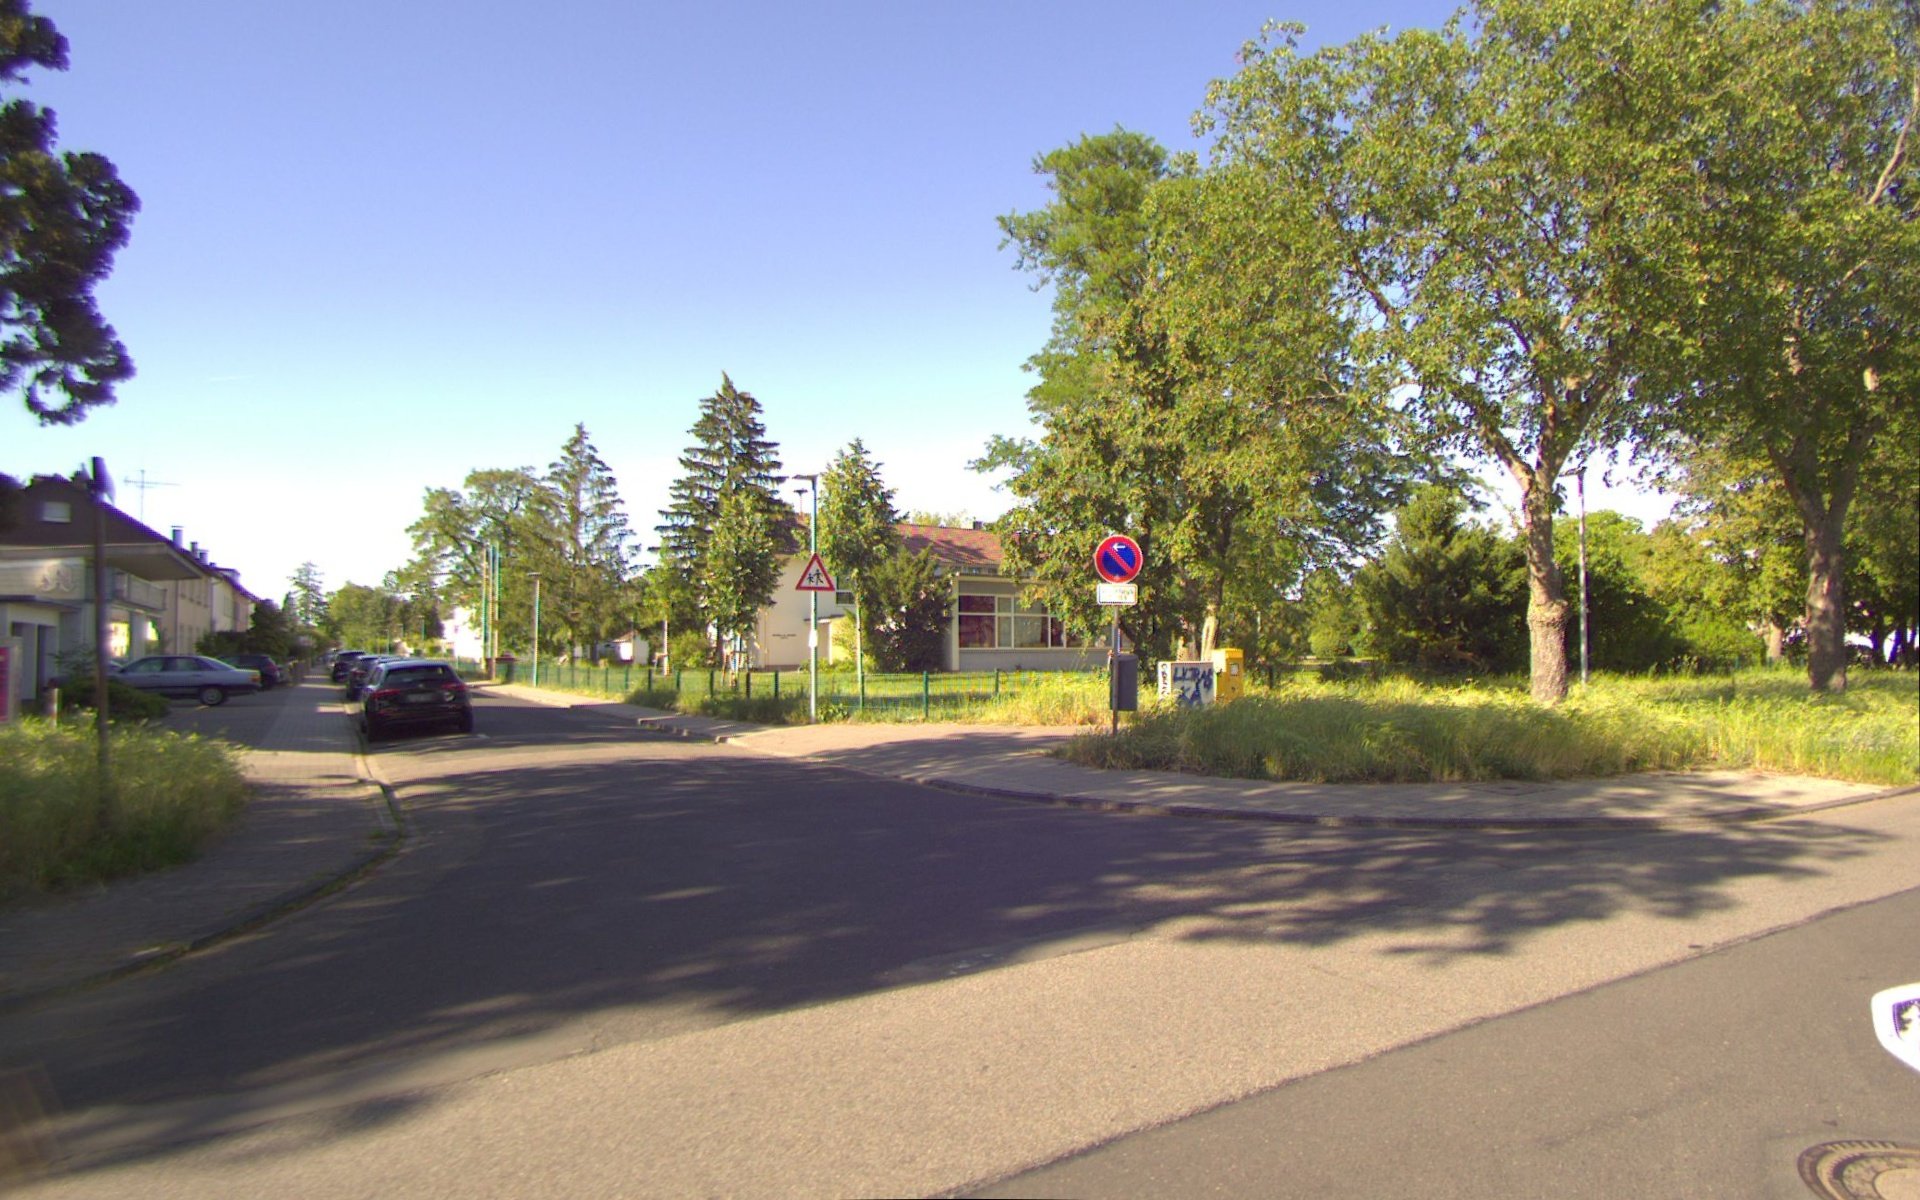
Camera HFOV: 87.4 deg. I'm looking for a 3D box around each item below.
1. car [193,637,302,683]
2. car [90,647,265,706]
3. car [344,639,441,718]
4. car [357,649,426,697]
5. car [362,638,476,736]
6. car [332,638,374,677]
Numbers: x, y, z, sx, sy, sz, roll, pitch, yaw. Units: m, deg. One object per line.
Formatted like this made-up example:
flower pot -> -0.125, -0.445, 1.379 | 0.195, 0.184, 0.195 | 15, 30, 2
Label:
car -> -32.269, 2.696, 45.645 | 3.959, 2.040, 1.982 | 2, -3, -34
car -> -22.071, 2.116, 28.534 | 3.719, 1.539, 1.788 | 2, -3, -33
car -> -14.507, 1.920, 25.722 | 1.976, 1.844, 3.969 | 1, -2, -30
car -> -19.743, 2.494, 34.930 | 1.976, 1.560, 3.970 | 1, -3, -29
car -> -10.780, 1.629, 19.980 | 1.800, 1.737, 3.969 | 1, -2, -30
car -> -34.960, 3.261, 57.812 | 1.978, 1.973, 3.964 | 2, 0, -32
